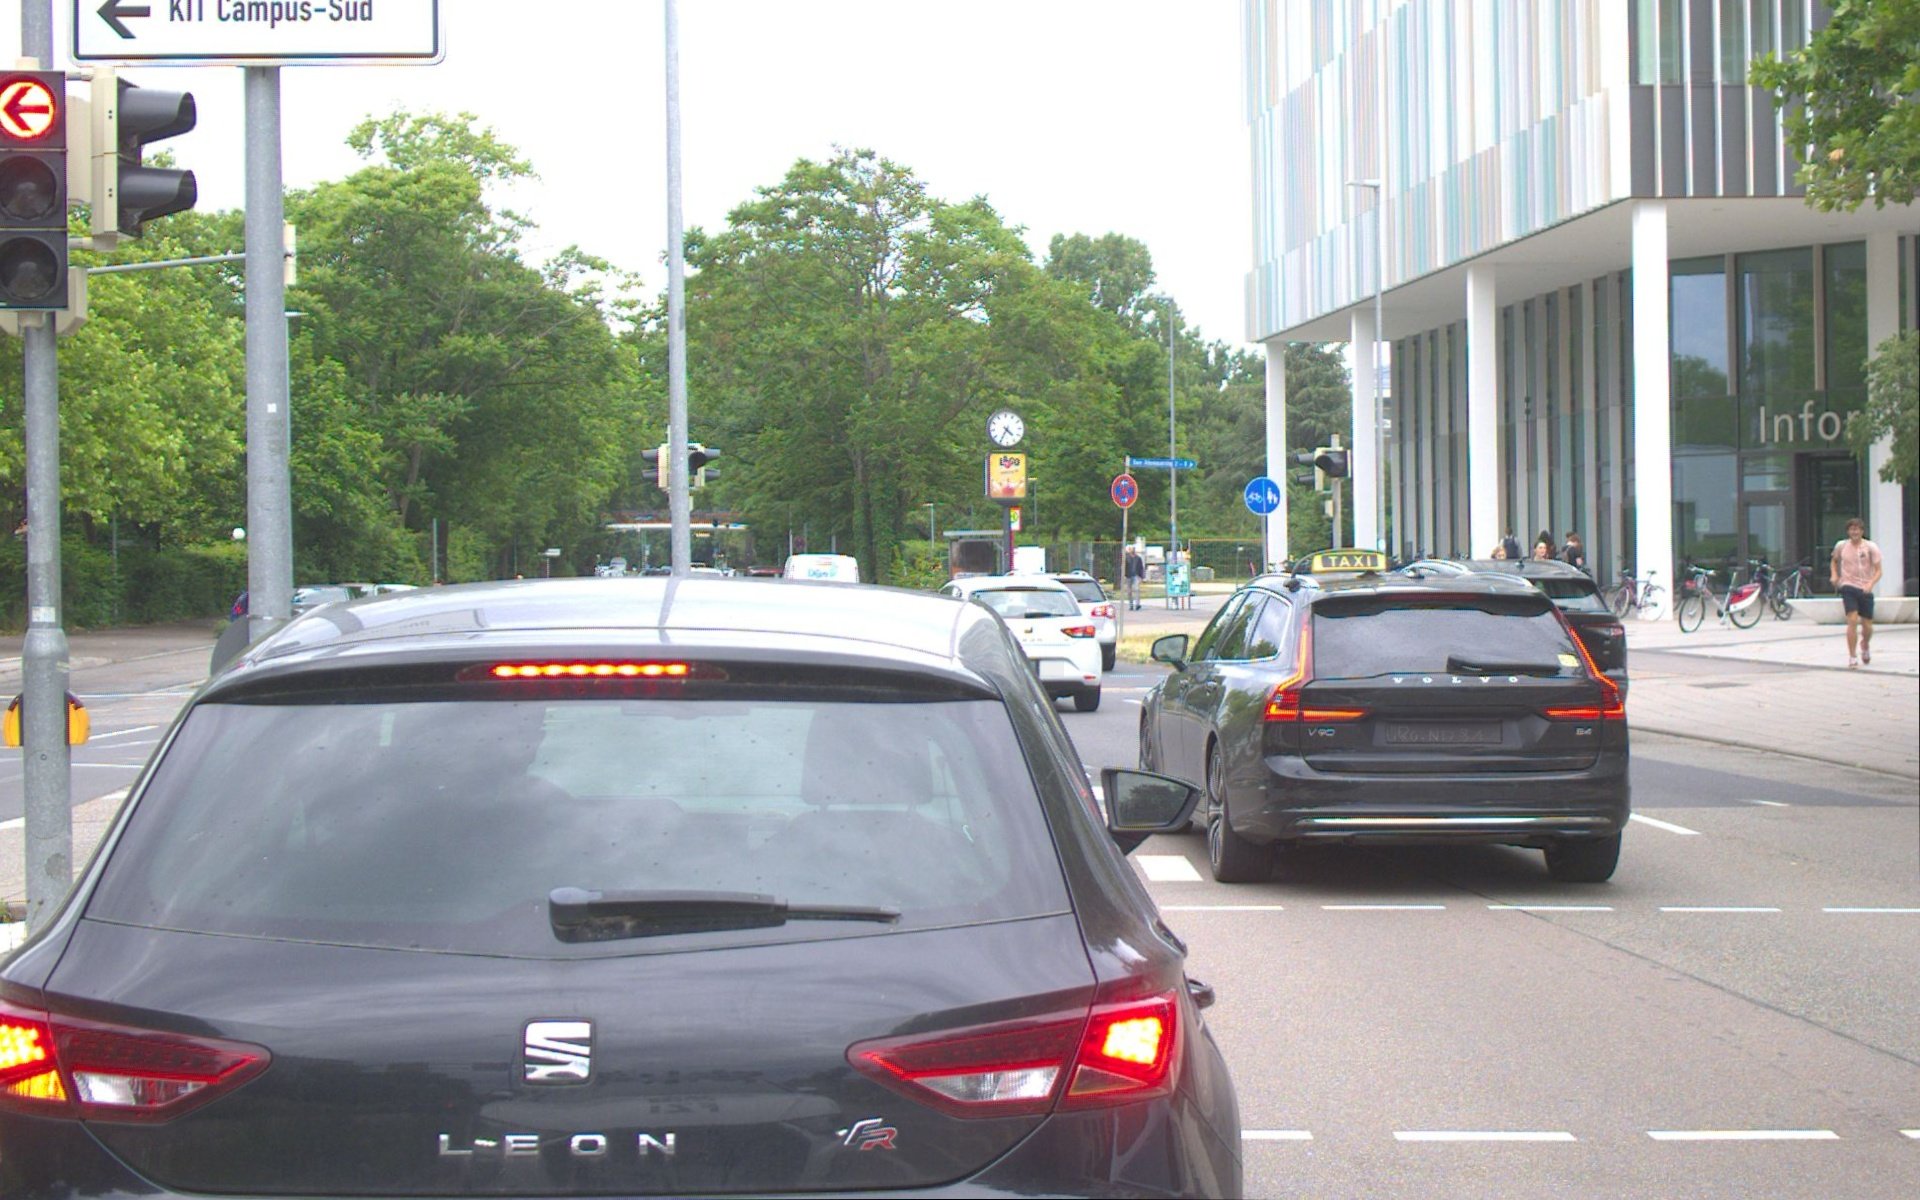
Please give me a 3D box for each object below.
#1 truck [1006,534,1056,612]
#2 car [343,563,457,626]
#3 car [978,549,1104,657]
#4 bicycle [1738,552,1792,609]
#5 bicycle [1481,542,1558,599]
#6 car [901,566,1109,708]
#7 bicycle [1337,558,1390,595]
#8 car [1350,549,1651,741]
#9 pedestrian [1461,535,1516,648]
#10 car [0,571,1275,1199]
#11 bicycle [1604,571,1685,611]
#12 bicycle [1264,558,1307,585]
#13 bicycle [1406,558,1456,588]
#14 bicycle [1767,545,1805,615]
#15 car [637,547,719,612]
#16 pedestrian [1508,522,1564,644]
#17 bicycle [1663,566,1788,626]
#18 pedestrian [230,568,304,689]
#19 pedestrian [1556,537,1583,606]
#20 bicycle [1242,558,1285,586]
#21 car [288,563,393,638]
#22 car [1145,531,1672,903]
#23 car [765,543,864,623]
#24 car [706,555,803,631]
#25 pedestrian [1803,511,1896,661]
[{"bbox_3d":[2.135,-0.836,104.073,1.317,2.235,3.402,-2,1,-1],"label":"truck"},{"bbox_3d":[-15.650,-0.175,96.278,1.759,1.582,3.998,-2,1,12],"label":"car"},{"bbox_3d":[1.246,0.058,52.593,1.825,1.545,4.527,1,0,2],"label":"car"},{"bbox_3d":[15.736,-0.390,67.191,0.620,1.042,1.703,-2,1,26],"label":"bicycle"},{"bbox_3d":[12.647,-0.670,77.736,1.772,1.207,0.570,-3,1,-34],"label":"bicycle"},{"bbox_3d":[0.440,0.365,37.868,1.781,1.458,3.872,0,1,-7],"label":"car"},{"bbox_3d":[10.783,-0.619,91.862,1.387,0.938,0.487,-1,1,7],"label":"bicycle"},{"bbox_3d":[4.883,0.352,31.673,1.907,1.619,4.491,1,1,-2],"label":"car"},{"bbox_3d":[7.752,-0.131,50.458,0.687,1.634,0.633,0,1,-1],"label":"pedestrian"},{"bbox_3d":[-0.472,0.692,5.766,1.753,1.427,3.769,1,1,2],"label":"car"},{"bbox_3d":[13.870,-0.186,69.684,1.479,0.746,0.566,-2,1,-4],"label":"bicycle"},{"bbox_3d":[10.129,-0.888,106.867,1.234,0.820,0.482,1,0,-22],"label":"bicycle"},{"bbox_3d":[11.902,-0.681,86.864,1.240,0.703,0.489,-2,1,8],"label":"bicycle"},{"bbox_3d":[15.470,-0.379,64.398,0.526,1.248,1.664,-2,1,18],"label":"bicycle"},{"bbox_3d":[-7.094,-0.538,86.206,1.729,1.597,4.107,0,1,-9],"label":"car"},{"bbox_3d":[8.471,-0.252,50.555,0.687,1.775,0.677,-1,1,-1],"label":"pedestrian"},{"bbox_3d":[12.516,-0.074,56.203,1.886,0.895,0.697,-3,1,-21],"label":"bicycle"},{"bbox_3d":[-9.312,0.379,46.237,0.874,1.581,0.543,-2,1,-7],"label":"pedestrian"},{"bbox_3d":[12.180,-0.566,68.723,0.472,1.357,0.445,-2,1,10],"label":"pedestrian"},{"bbox_3d":[9.619,-0.894,108.995,1.258,0.845,0.482,2,0,-22],"label":"bicycle"},{"bbox_3d":[-15.525,-0.011,86.325,1.906,1.711,4.000,-2,1,-1],"label":"car"},{"bbox_3d":[2.057,0.472,17.063,1.883,1.594,4.447,0,1,-2],"label":"car"},{"bbox_3d":[-3.759,-0.463,87.962,1.966,1.965,4.345,1,1,-10],"label":"car"},{"bbox_3d":[-4.128,-0.159,68.676,1.722,1.409,4.246,0,1,-6],"label":"car"},{"bbox_3d":[10.669,-0.176,41.267,0.847,1.759,0.768,-2,1,-1],"label":"pedestrian"}]
